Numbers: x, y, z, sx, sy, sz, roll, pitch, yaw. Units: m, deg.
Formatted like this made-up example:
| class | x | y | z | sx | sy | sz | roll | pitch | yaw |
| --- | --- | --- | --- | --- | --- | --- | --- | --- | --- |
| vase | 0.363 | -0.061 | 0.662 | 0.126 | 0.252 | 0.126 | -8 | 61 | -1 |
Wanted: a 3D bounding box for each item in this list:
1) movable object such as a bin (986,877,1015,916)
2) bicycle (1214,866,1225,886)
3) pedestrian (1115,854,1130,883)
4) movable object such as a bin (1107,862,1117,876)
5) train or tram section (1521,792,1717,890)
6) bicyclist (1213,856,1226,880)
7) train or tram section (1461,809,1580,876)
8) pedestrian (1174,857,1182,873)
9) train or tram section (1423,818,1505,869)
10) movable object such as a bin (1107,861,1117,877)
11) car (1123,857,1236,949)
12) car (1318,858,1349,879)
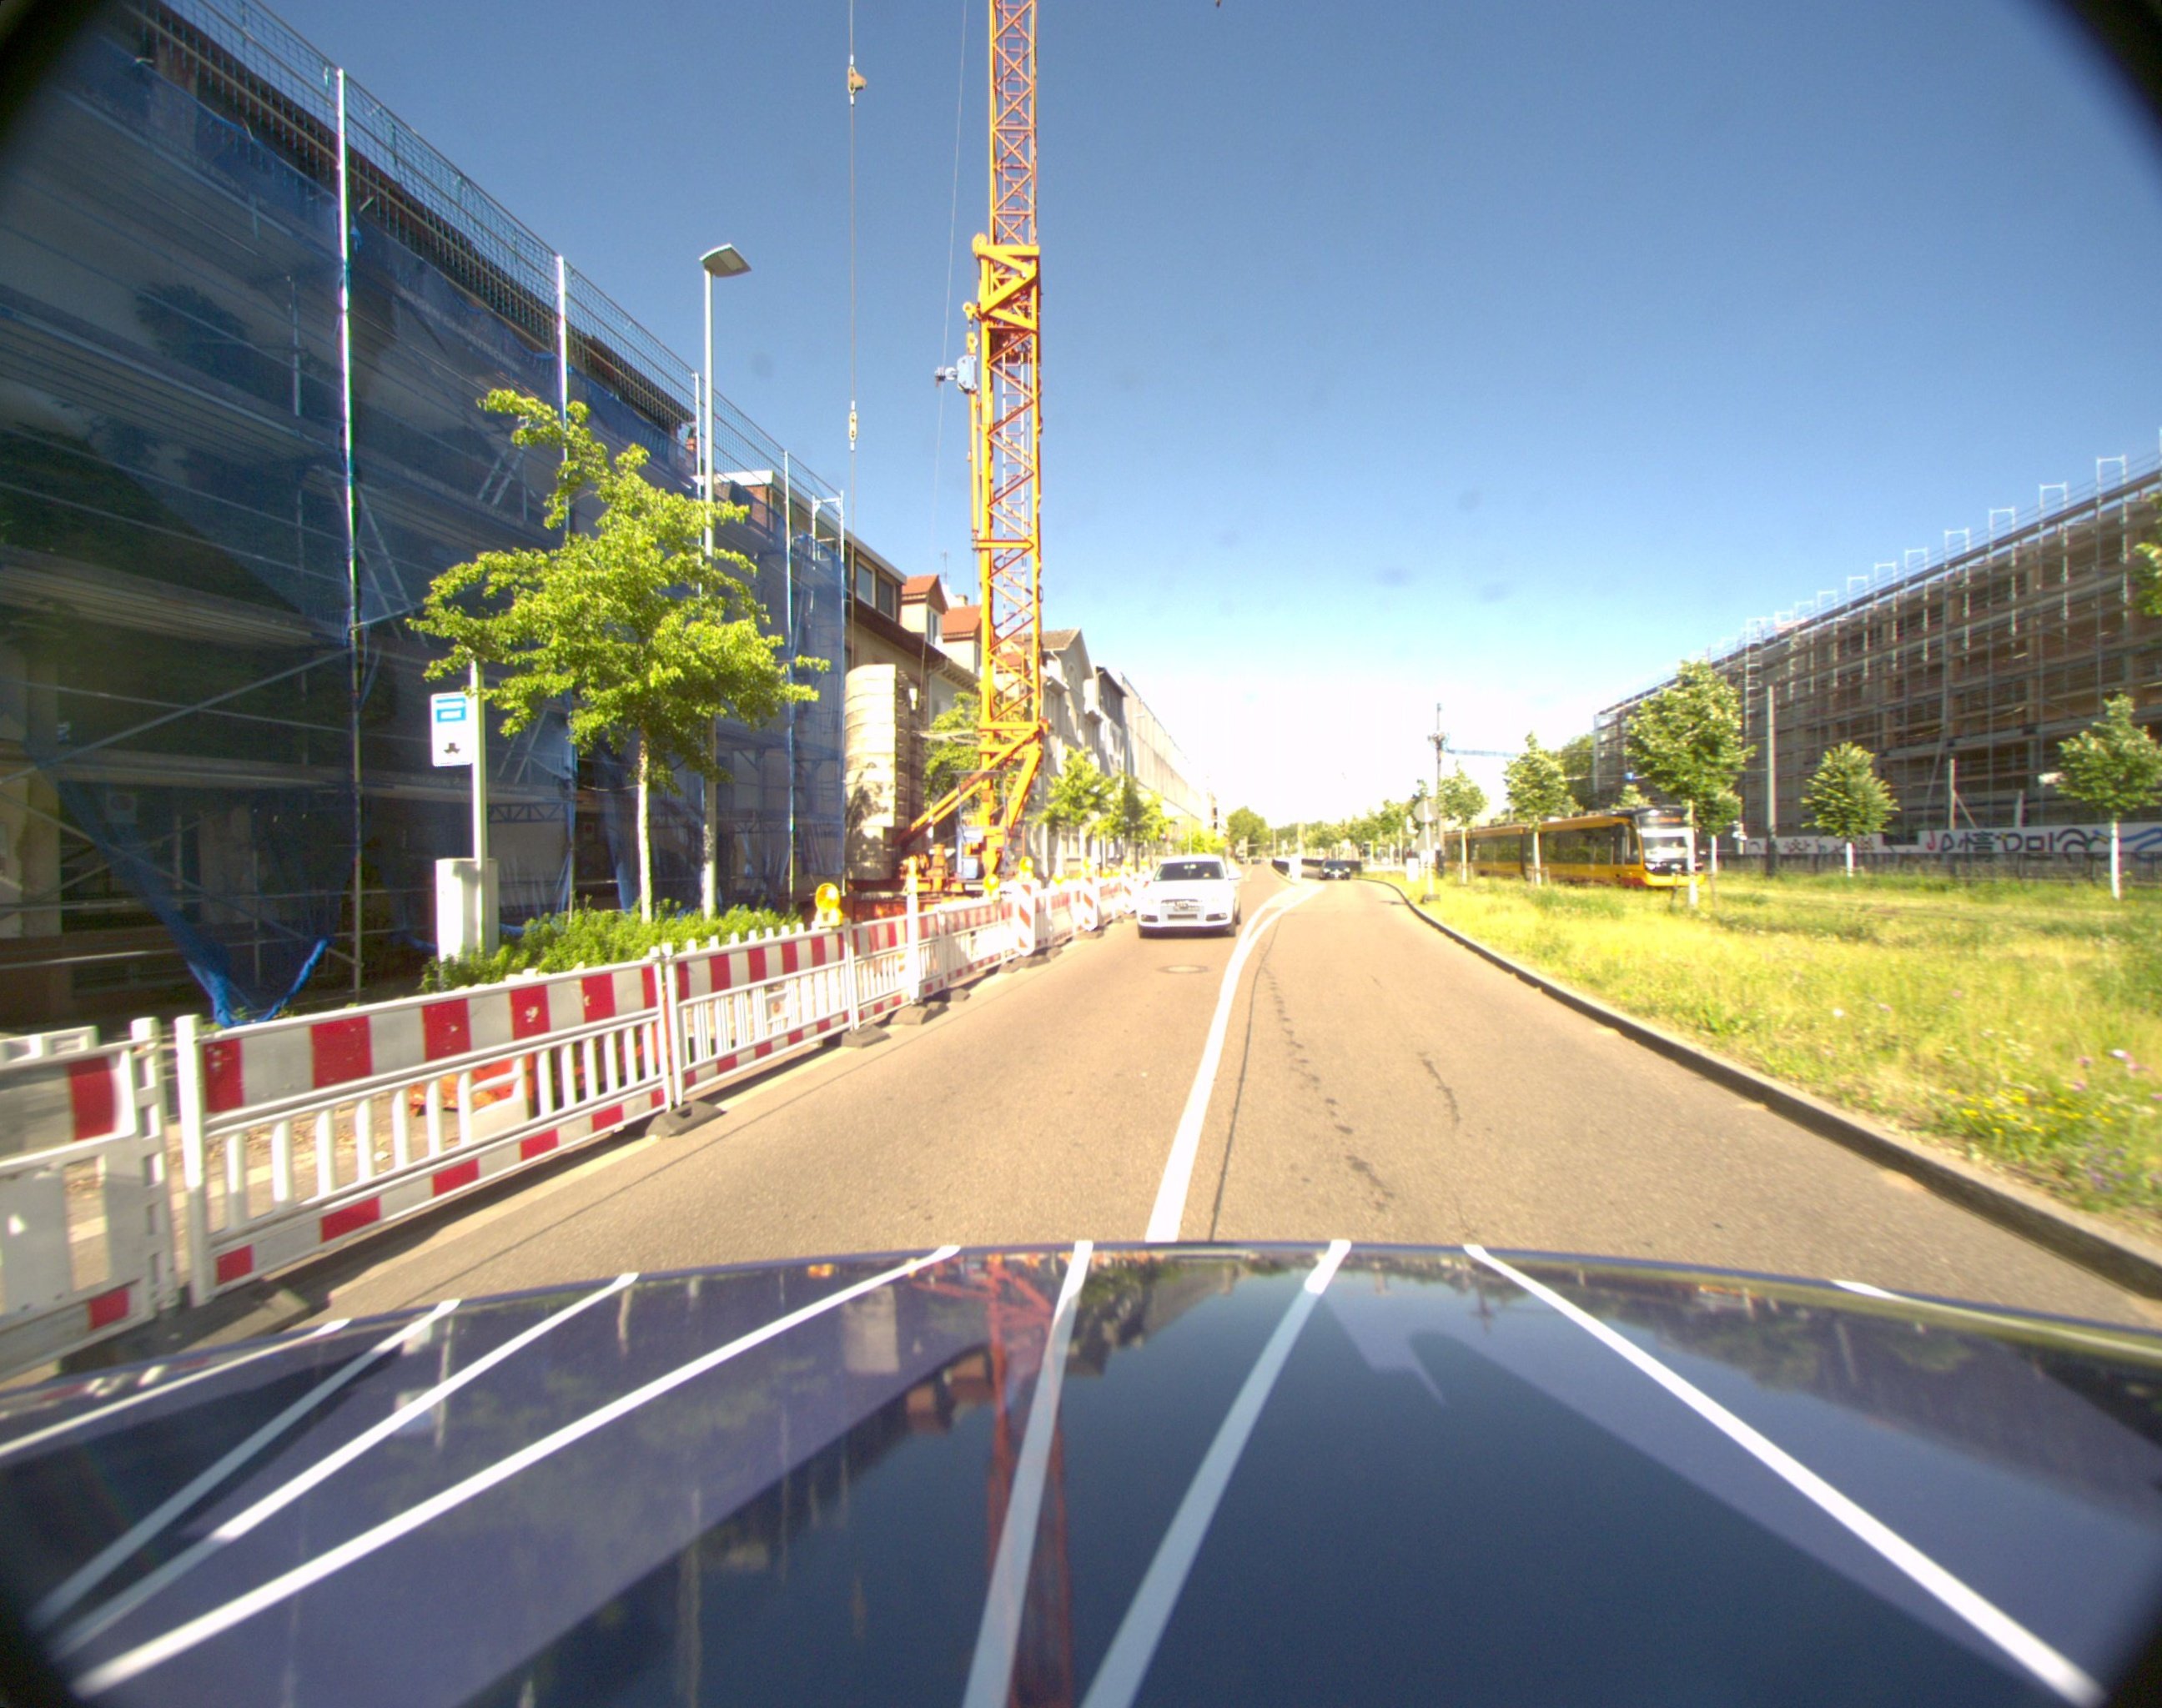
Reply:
| class | x | y | z | sx | sy | sz | roll | pitch | yaw |
| --- | --- | --- | --- | --- | --- | --- | --- | --- | --- |
| movable object such as a bin | -2.331 | 1.213 | 22.033 | 0.588 | 1.052 | 0.784 | 4 | 1 | 9 |
| bicycle | 8.534 | 1.364 | 46.808 | 0.609 | 1.144 | 1.988 | -1 | 0 | 8 |
| pedestrian | 2.799 | 1.003 | 51.357 | 0.796 | 1.917 | 0.769 | -2 | 0 | -10 |
| movable object such as a bin | 2.332 | 1.111 | 56.482 | 0.604 | 1.076 | 0.704 | -1 | 0 | 14 |
| train or tram section | 23.836 | -0.517 | 34.834 | 2.819 | 3.617 | 12.802 | -1 | 0 | 14 |
| bicyclist | 8.518 | 0.858 | 46.765 | 0.755 | 1.454 | 0.587 | -2 | 1 | 8 |
| train or tram section | 26.825 | -0.653 | 47.280 | 2.819 | 3.617 | 12.801 | -1 | 0 | 13 |
| pedestrian | 11.960 | 1.314 | 93.517 | 0.876 | 1.914 | 0.896 | 2 | 3 | 13 |
| train or tram section | 29.753 | -0.773 | 59.763 | 2.819 | 3.617 | 12.801 | -1 | 0 | 13 |
| movable object such as a bin | 2.297 | 1.089 | 55.649 | 0.589 | 1.101 | 0.704 | -1 | 0 | 14 |
| car | 2.221 | 0.938 | 16.137 | 1.932 | 1.623 | 4.004 | -2 | 0 | 13 |
| car | 18.649 | 1.064 | 56.209 | 1.925 | 1.435 | 4.182 | -1 | 0 | 15 |
